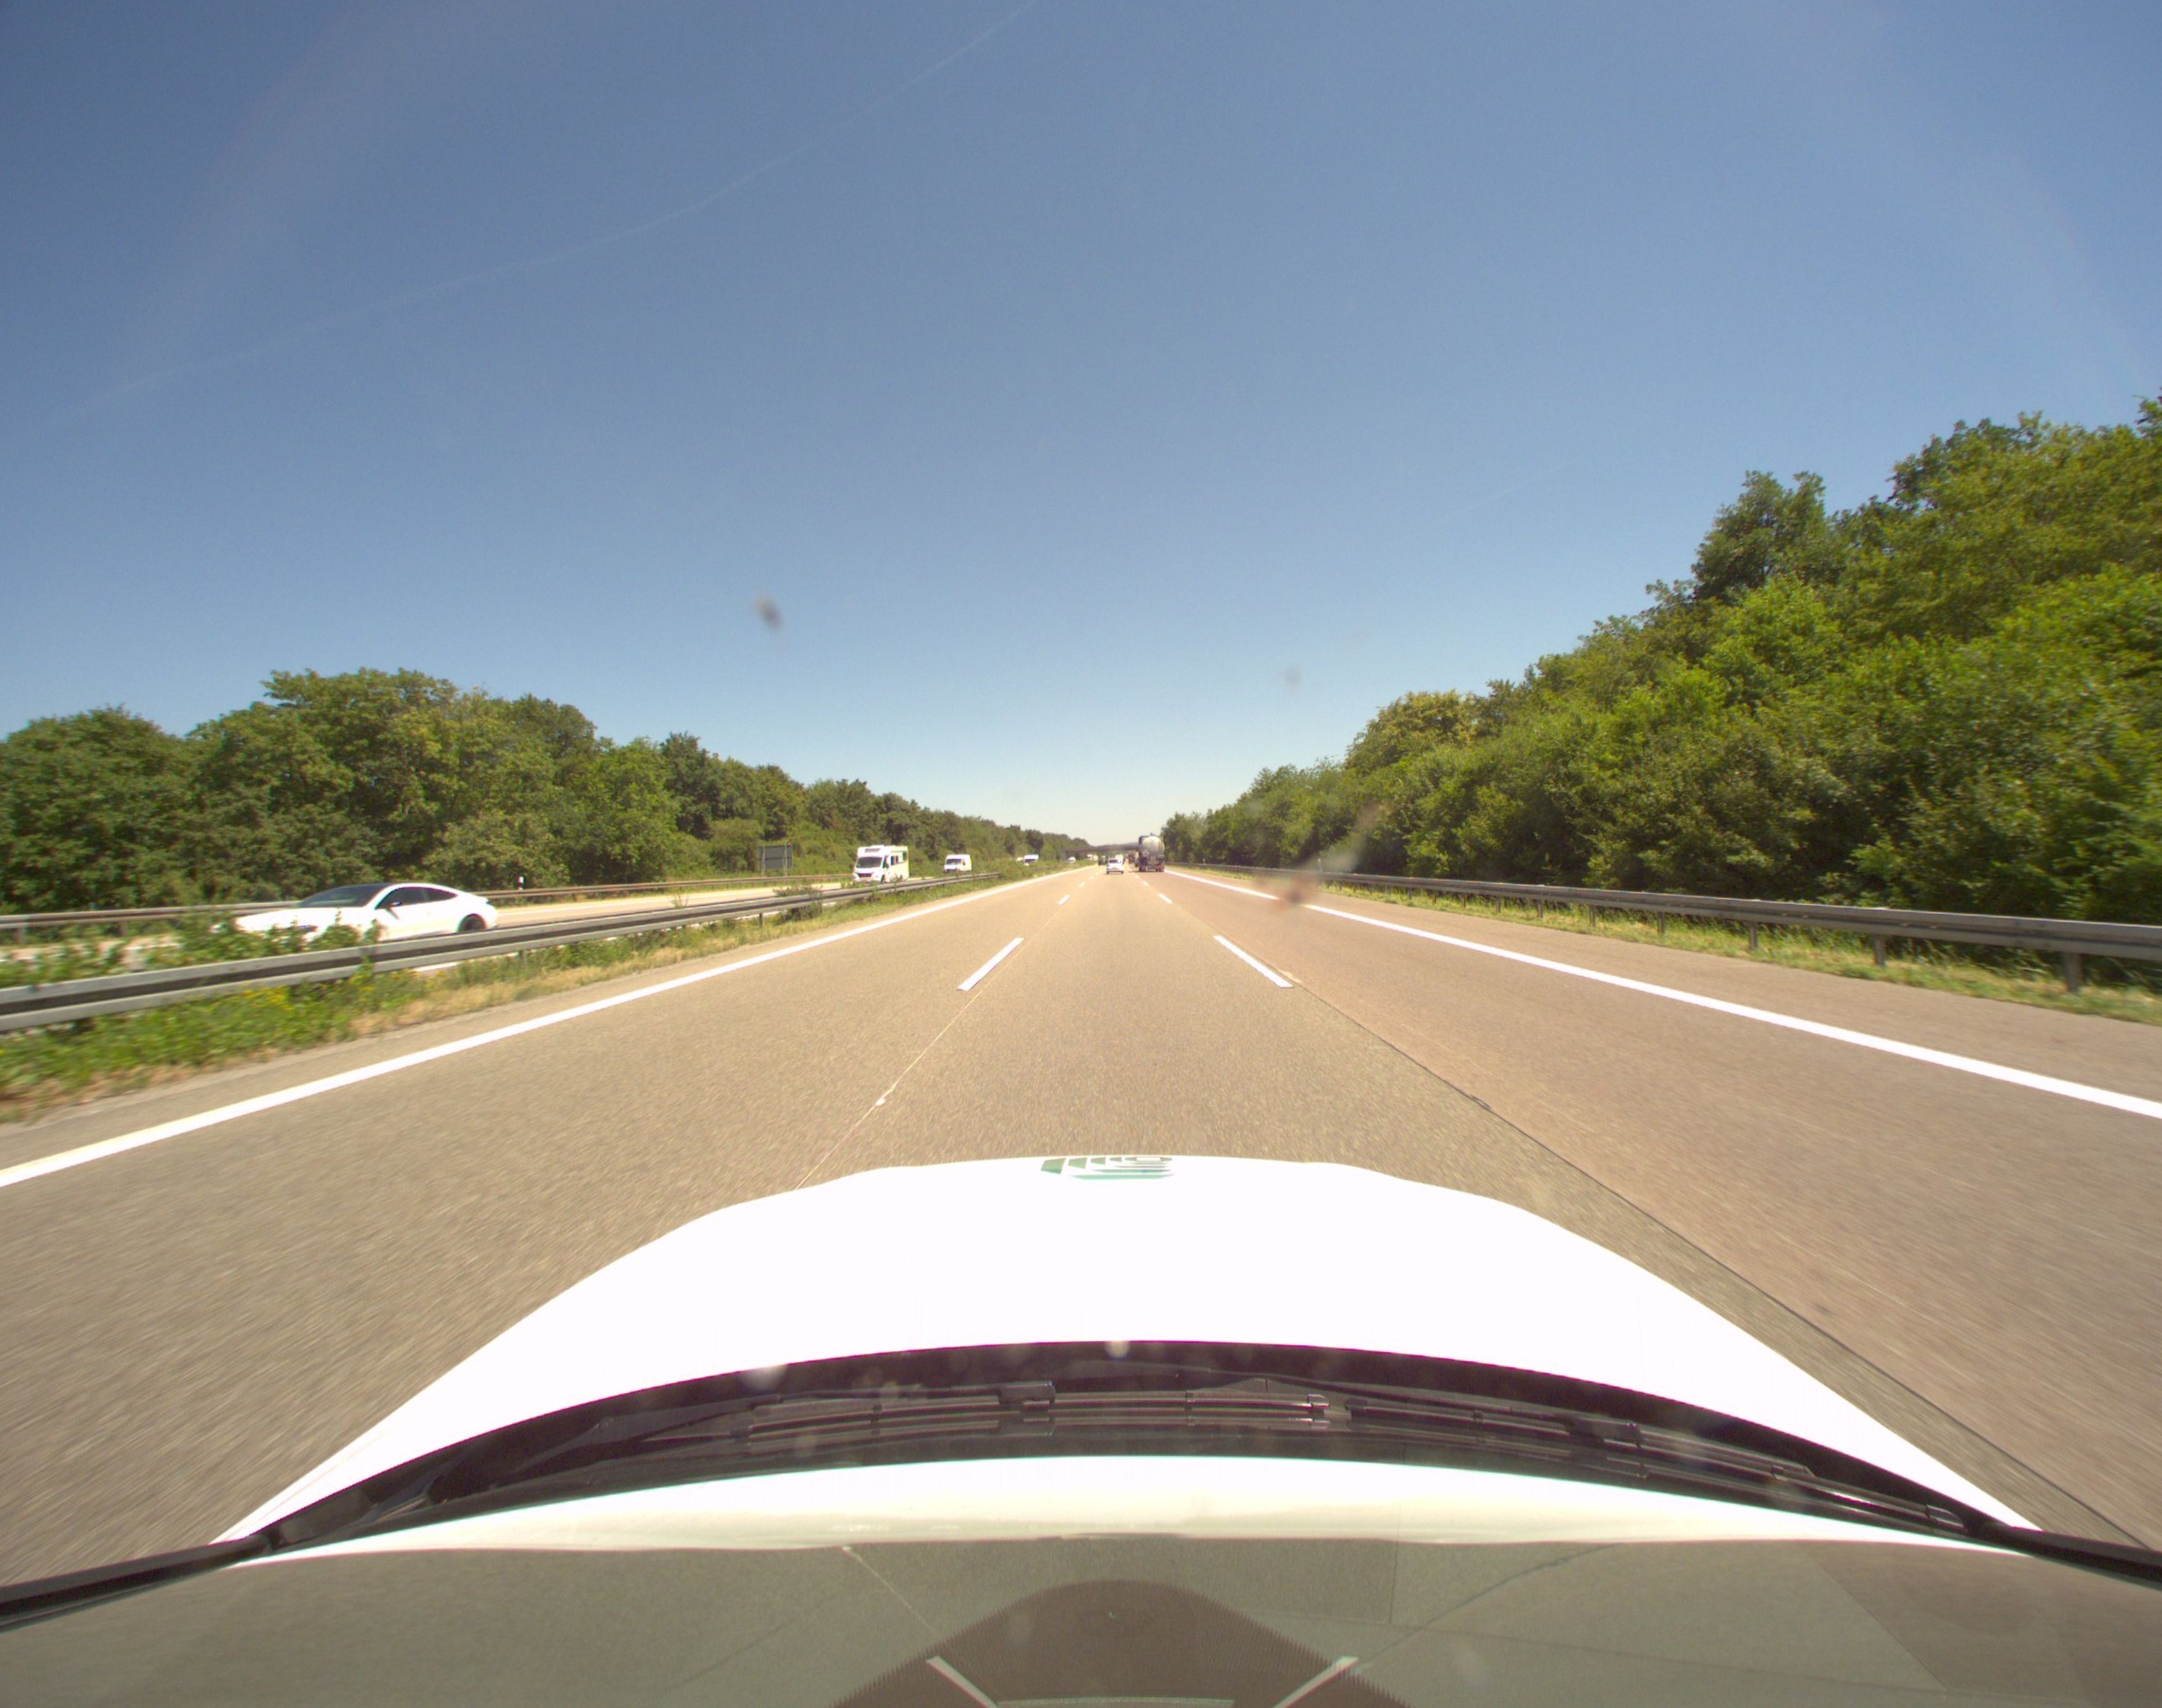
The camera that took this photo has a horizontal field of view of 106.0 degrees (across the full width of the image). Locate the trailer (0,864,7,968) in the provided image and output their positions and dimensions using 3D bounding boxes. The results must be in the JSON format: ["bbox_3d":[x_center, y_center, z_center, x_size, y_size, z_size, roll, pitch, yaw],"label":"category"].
[{"bbox_3d":[-20.068,1.101,11.909,2.021,1.836,4.991,-1,0,2],"label":"trailer"}]

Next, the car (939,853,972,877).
[{"bbox_3d":[-13.569,1.182,88.572,2.205,2.441,6.424,-2,0,3],"label":"car"}]

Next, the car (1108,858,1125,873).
[{"bbox_3d":[3.536,1.140,81.592,1.621,1.479,4.002,-1,0,2],"label":"car"}]

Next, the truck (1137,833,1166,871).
[{"bbox_3d":[7.901,-0.158,92.538,2.728,4.052,10.461,-1,0,3],"label":"truck"}]

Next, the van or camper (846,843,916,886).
[{"bbox_3d":[-14.153,0.726,58.287,2.502,2.849,8.034,-1,0,4],"label":"van or camper"}]

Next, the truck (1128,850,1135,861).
[{"bbox_3d":[15.841,0.588,255.043,2.281,3.240,6.348,-1,-1,3],"label":"truck"}]

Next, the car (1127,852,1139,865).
[{"bbox_3d":[9.235,0.856,144.135,1.985,2.225,4.789,-1,0,3],"label":"car"}]

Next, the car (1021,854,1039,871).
[{"bbox_3d":[-7.767,1.271,123.898,1.985,2.400,6.170,-2,0,3],"label":"car"}]

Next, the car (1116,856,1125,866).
[{"bbox_3d":[9.844,1.691,201.817,1.985,2.343,4.391,-1,0,4],"label":"car"}]

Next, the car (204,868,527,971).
[{"bbox_3d":[-13.611,1.135,16.050,1.805,1.596,5.012,-1,0,2],"label":"car"}]

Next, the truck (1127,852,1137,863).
[{"bbox_3d":[15.439,1.200,245.795,2.903,3.240,6.348,-1,-1,2],"label":"truck"}]

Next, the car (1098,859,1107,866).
[{"bbox_3d":[5.289,2.136,198.271,1.985,1.725,4.789,-1,0,3],"label":"car"}]
